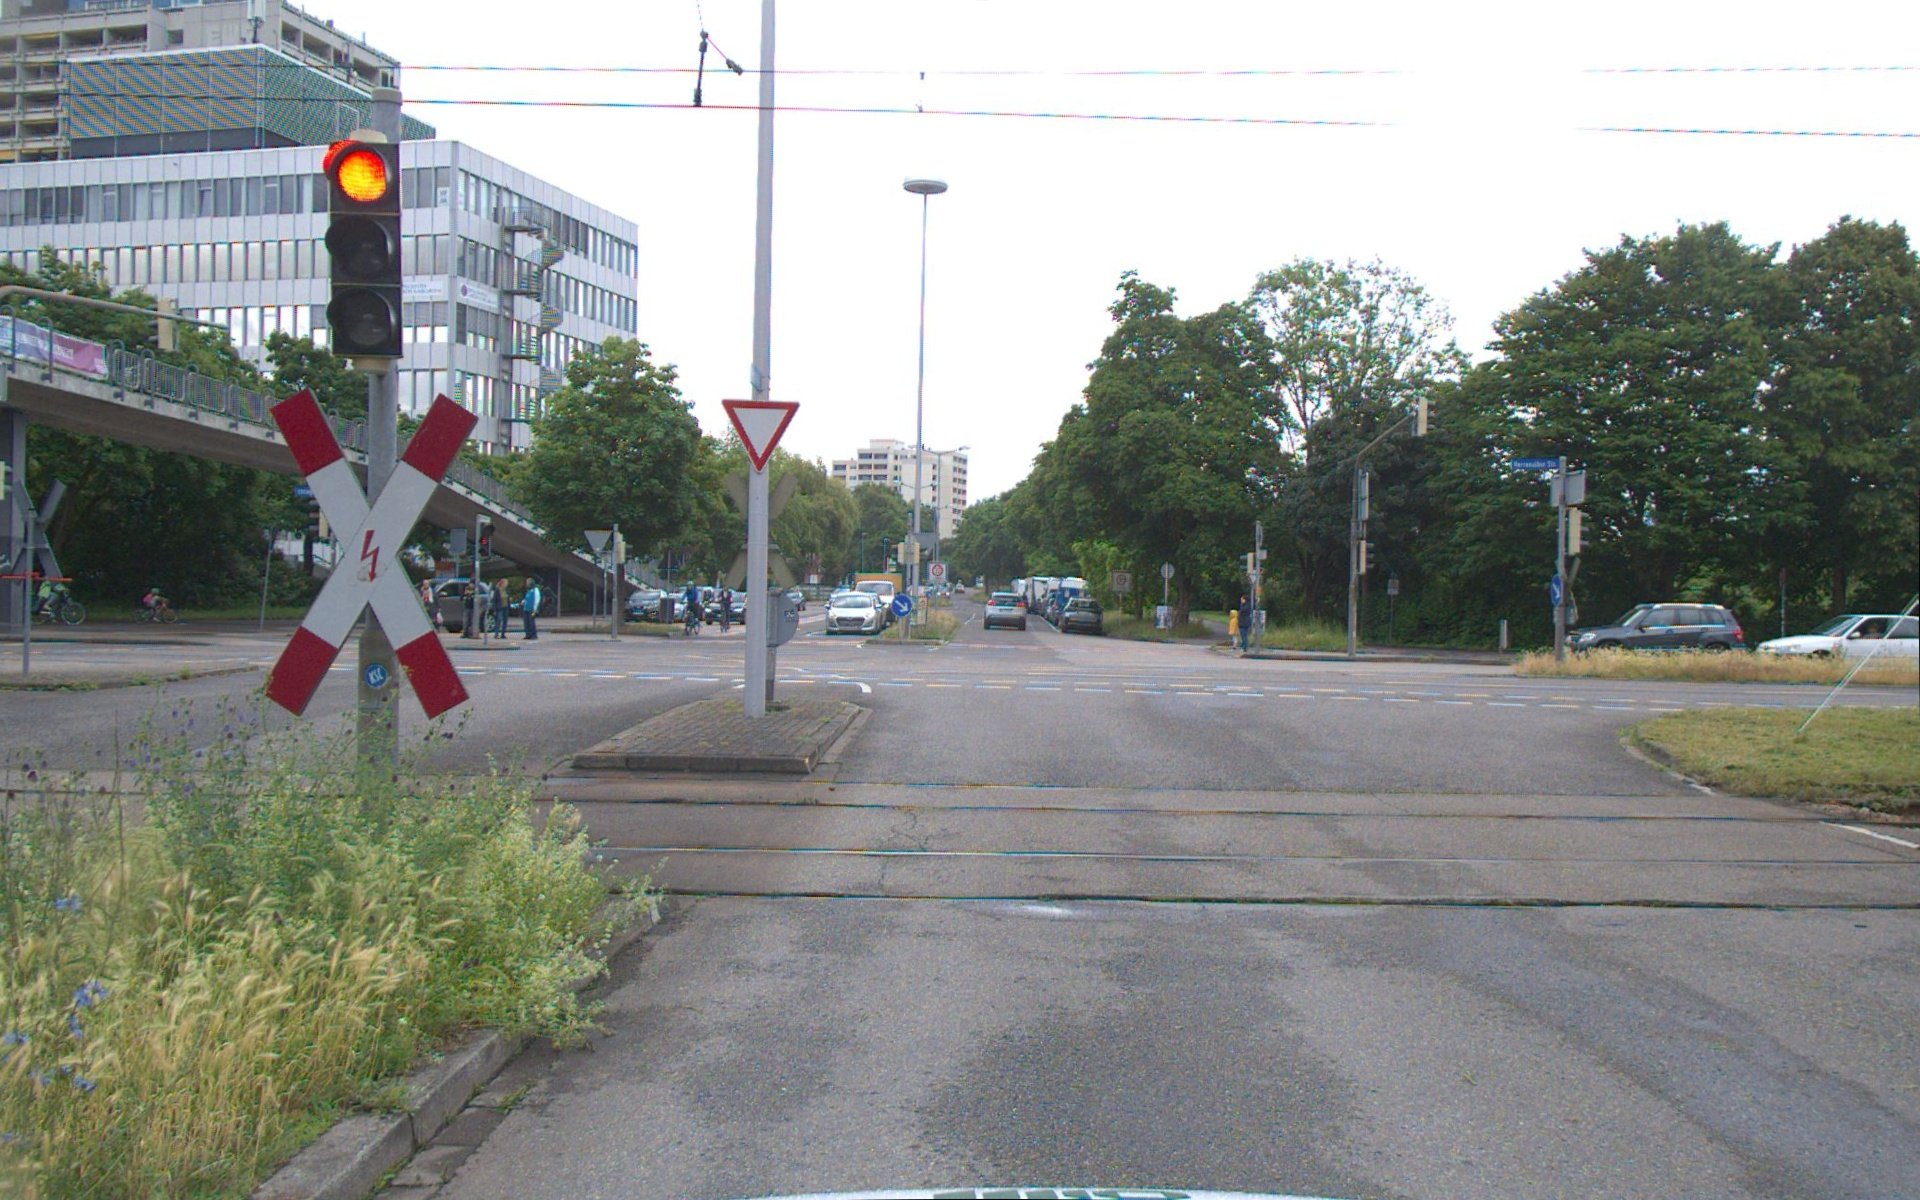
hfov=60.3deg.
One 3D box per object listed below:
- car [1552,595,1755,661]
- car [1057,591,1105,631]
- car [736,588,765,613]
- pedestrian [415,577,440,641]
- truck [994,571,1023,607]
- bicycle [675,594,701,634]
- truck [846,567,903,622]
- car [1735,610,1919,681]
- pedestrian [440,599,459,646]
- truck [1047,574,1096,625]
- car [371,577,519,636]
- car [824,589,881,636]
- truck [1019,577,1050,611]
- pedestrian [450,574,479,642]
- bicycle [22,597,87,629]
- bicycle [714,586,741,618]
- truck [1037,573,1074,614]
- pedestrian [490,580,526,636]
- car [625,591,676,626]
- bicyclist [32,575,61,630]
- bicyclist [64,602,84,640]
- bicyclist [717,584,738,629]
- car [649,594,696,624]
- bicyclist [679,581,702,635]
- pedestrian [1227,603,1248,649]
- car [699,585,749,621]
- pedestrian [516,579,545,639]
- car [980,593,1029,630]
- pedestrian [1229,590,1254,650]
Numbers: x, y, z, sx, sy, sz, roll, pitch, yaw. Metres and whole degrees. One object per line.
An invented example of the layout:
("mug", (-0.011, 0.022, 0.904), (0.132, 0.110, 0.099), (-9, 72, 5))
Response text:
("car", (17.598, 0.689, 42.087), (4.373, 1.530, 1.846), (1, 0, 0))
("car", (5.389, 0.463, 74.000), (1.747, 1.691, 3.999), (1, 0, -1))
("car", (-13.611, 0.030, 107.486), (1.415, 1.579, 3.664), (1, 0, 0))
("pedestrian", (-14.627, 0.249, 45.416), (0.608, 1.721, 0.404), (1, 0, -15))
("truck", (4.172, -0.907, 142.997), (1.954, 3.061, 5.767), (1, 0, -4))
("bicycle", (-9.087, 0.469, 55.269), (0.532, 1.289, 2.110), (1, 0, -1))
("truck", (-3.671, -0.263, 72.024), (2.111, 2.237, 5.841), (1, 0, 0))
("car", (18.632, 0.943, 34.602), (4.052, 1.381, 1.647), (1, 0, 0))
("pedestrian", (-17.418, 0.761, 56.391), (0.570, 1.607, 0.777), (1, 0, -19))
("truck", (6.073, -0.002, 90.810), (2.130, 2.703, 6.245), (0, 0, -1))
("car", (-16.200, 0.212, 52.120), (4.173, 1.765, 1.604), (1, 0, -43))
("car", (-3.725, 0.402, 57.836), (1.753, 1.545, 4.325), (1, 0, -1))
("truck", (5.947, -0.437, 132.230), (1.954, 2.618, 5.375), (1, 0, -3))
("pedestrian", (-13.645, 0.211, 45.552), (0.625, 1.835, 0.800), (1, 0, -10))
("bicycle", (-27.686, 0.388, 50.605), (0.618, 0.941, 2.523), (1, 0, -1))
("bicycle", (-8.539, 0.069, 60.813), (0.712, 1.120, 2.264), (1, 0, -1))
("truck", (6.906, -0.478, 120.172), (1.954, 2.888, 5.726), (1, 0, -4))
("pedestrian", (-12.479, 0.215, 45.652), (0.901, 1.537, 0.403), (1, 0, -12))
("car", (-14.460, 0.381, 77.415), (1.637, 1.579, 3.892), (1, 0, 0))
("bicyclist", (-27.941, 0.079, 50.575), (0.553, 1.673, 0.531), (1, -1, 0))
("bicyclist", (-28.076, 0.667, 52.423), (0.396, 1.202, 0.377), (1, 1, 1))
("bicyclist", (-8.565, 0.234, 60.937), (0.665, 1.622, 0.695), (1, -1, -1))
("car", (-14.377, 0.424, 82.911), (1.637, 1.411, 3.895), (1, 0, 0))
("bicyclist", (-9.024, 0.256, 55.412), (0.631, 1.799, 0.646), (1, 0, -1))
("pedestrian", (8.368, 0.785, 49.968), (0.516, 1.365, 0.525), (1, 0, -1))
("car", (-10.879, 0.111, 76.441), (1.637, 1.579, 4.001), (1, 0, 1))
("pedestrian", (-11.858, 0.258, 45.647), (0.673, 1.633, 0.487), (1, 0, -5))
("car", (1.938, 0.504, 73.617), (1.979, 1.531, 3.999), (1, 0, -1))
("pedestrian", (8.410, 0.588, 49.383), (0.643, 1.780, 0.459), (1, 0, -1))
